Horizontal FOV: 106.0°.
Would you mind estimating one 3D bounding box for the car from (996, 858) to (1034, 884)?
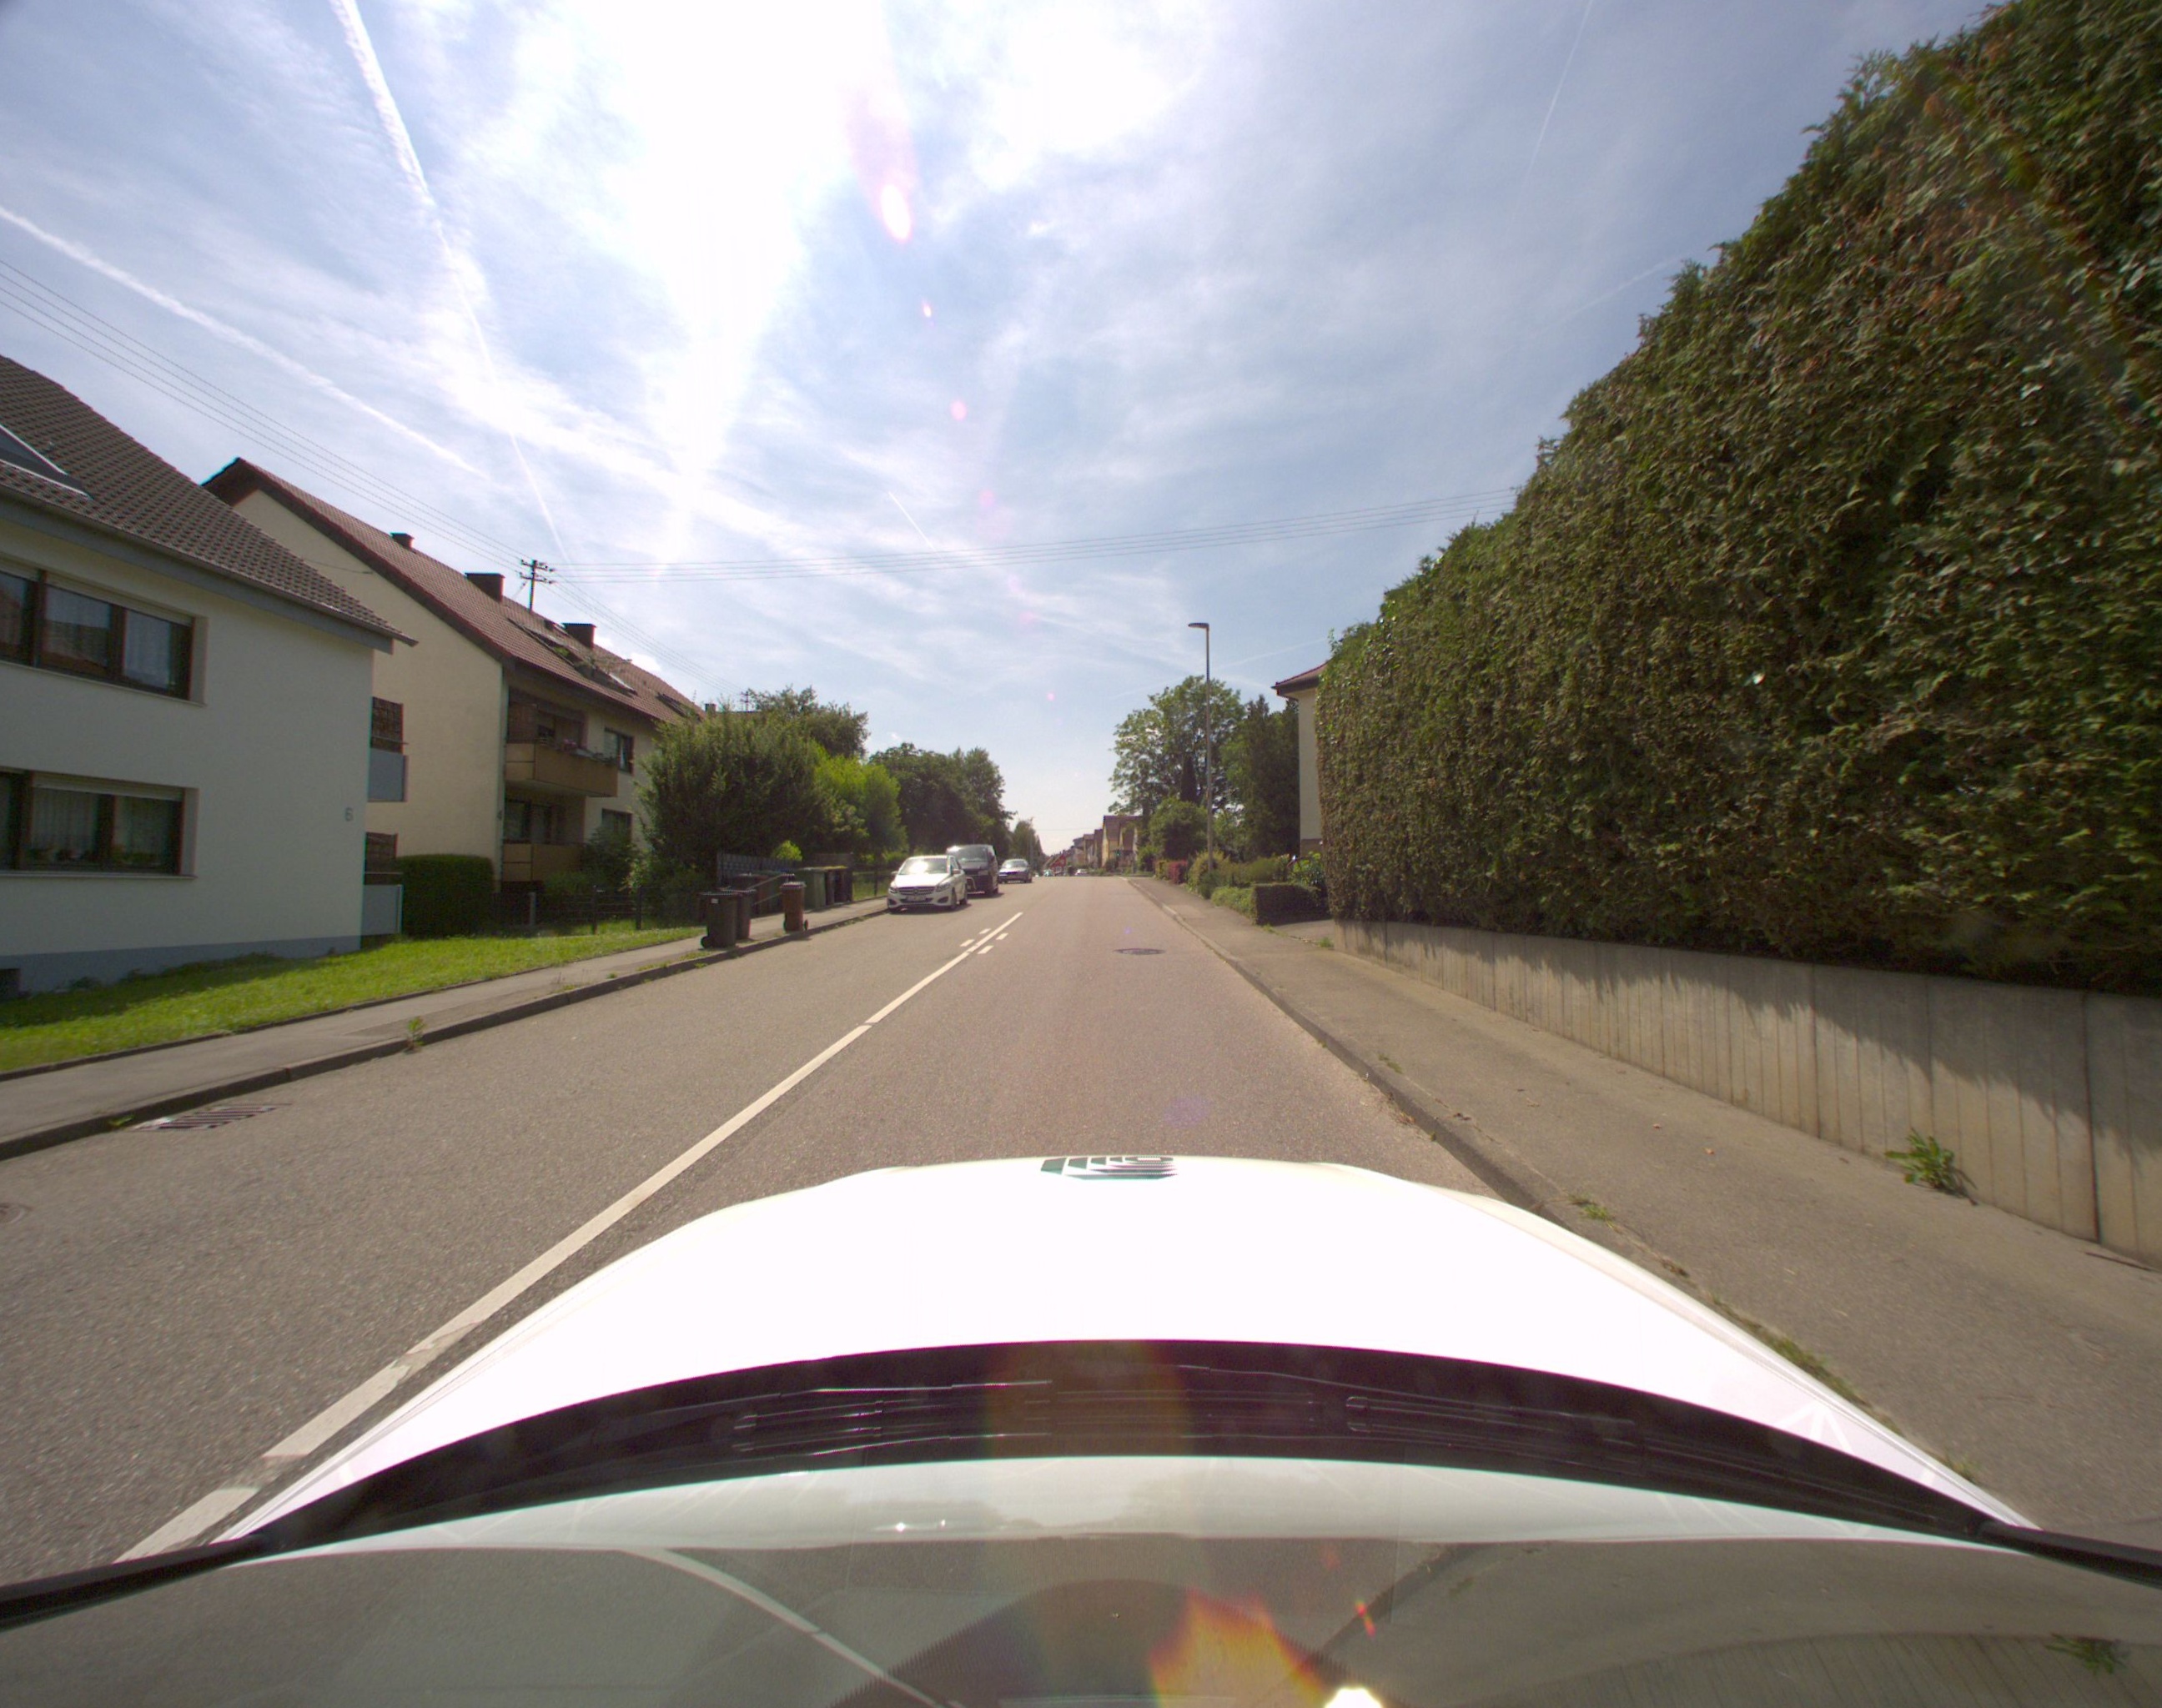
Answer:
[{"bbox_3d":[-3.842,0.995,48.158,1.774,1.394,4.410,-2,-1,1],"label":"car"}]

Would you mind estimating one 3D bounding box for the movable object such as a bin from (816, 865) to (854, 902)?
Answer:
[{"bbox_3d":[-7.388,0.877,24.459,0.896,1.070,0.695,-1,0,1],"label":"movable object such as a bin"}]

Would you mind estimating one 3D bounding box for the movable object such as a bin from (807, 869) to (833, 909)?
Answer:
[{"bbox_3d":[-7.137,0.951,22.282,0.453,1.044,0.561,-3,-1,7],"label":"movable object such as a bin"}]

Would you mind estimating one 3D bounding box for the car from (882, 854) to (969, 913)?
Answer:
[{"bbox_3d":[-4.458,0.791,23.954,1.806,1.549,4.241,-1,0,-1],"label":"car"}]

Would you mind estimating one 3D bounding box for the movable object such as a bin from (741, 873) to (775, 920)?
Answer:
[{"bbox_3d":[-8.363,1.096,21.111,0.544,1.178,0.675,-1,0,6],"label":"movable object such as a bin"}]

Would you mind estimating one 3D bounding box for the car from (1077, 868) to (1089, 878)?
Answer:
[{"bbox_3d":[0.299,3.122,133.797,1.987,1.603,3.999,-2,0,0],"label":"car"}]

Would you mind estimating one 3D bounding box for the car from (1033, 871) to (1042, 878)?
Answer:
[{"bbox_3d":[-10.480,4.893,196.267,2.104,1.561,4.311,-1,-2,-1],"label":"car"}]

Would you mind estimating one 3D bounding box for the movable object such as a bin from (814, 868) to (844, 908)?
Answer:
[{"bbox_3d":[-7.100,0.953,22.972,0.494,1.105,0.711,-3,-1,7],"label":"movable object such as a bin"}]

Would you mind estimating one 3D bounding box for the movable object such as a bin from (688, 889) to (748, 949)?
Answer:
[{"bbox_3d":[-6.017,1.067,13.522,0.616,0.917,0.687,-2,0,7],"label":"movable object such as a bin"}]

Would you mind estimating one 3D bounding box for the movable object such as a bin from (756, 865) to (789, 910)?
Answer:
[{"bbox_3d":[-8.298,0.897,21.899,0.474,1.178,0.841,-1,0,6],"label":"movable object such as a bin"}]

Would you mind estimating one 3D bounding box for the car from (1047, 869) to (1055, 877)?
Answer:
[{"bbox_3d":[-5.988,3.787,162.993,1.531,1.541,4.298,-1,-1,-4],"label":"car"}]

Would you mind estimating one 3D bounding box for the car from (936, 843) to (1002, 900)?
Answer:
[{"bbox_3d":[-4.195,0.627,31.213,1.891,1.920,4.867,-2,0,-1],"label":"car"}]

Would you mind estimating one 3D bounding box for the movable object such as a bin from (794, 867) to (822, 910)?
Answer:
[{"bbox_3d":[-7.253,0.914,21.650,0.515,1.104,0.529,-3,-1,0],"label":"movable object such as a bin"}]

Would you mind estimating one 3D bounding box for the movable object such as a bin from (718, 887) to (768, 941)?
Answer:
[{"bbox_3d":[-6.120,1.076,14.760,0.560,0.917,0.644,-2,0,7],"label":"movable object such as a bin"}]

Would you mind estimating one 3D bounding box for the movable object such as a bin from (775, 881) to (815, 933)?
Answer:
[{"bbox_3d":[-5.658,1.042,16.127,0.503,0.988,0.564,-2,0,7],"label":"movable object such as a bin"}]

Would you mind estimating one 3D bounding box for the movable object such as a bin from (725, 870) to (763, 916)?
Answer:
[{"bbox_3d":[-8.433,0.971,20.385,0.599,1.096,0.651,-1,-1,7],"label":"movable object such as a bin"}]
